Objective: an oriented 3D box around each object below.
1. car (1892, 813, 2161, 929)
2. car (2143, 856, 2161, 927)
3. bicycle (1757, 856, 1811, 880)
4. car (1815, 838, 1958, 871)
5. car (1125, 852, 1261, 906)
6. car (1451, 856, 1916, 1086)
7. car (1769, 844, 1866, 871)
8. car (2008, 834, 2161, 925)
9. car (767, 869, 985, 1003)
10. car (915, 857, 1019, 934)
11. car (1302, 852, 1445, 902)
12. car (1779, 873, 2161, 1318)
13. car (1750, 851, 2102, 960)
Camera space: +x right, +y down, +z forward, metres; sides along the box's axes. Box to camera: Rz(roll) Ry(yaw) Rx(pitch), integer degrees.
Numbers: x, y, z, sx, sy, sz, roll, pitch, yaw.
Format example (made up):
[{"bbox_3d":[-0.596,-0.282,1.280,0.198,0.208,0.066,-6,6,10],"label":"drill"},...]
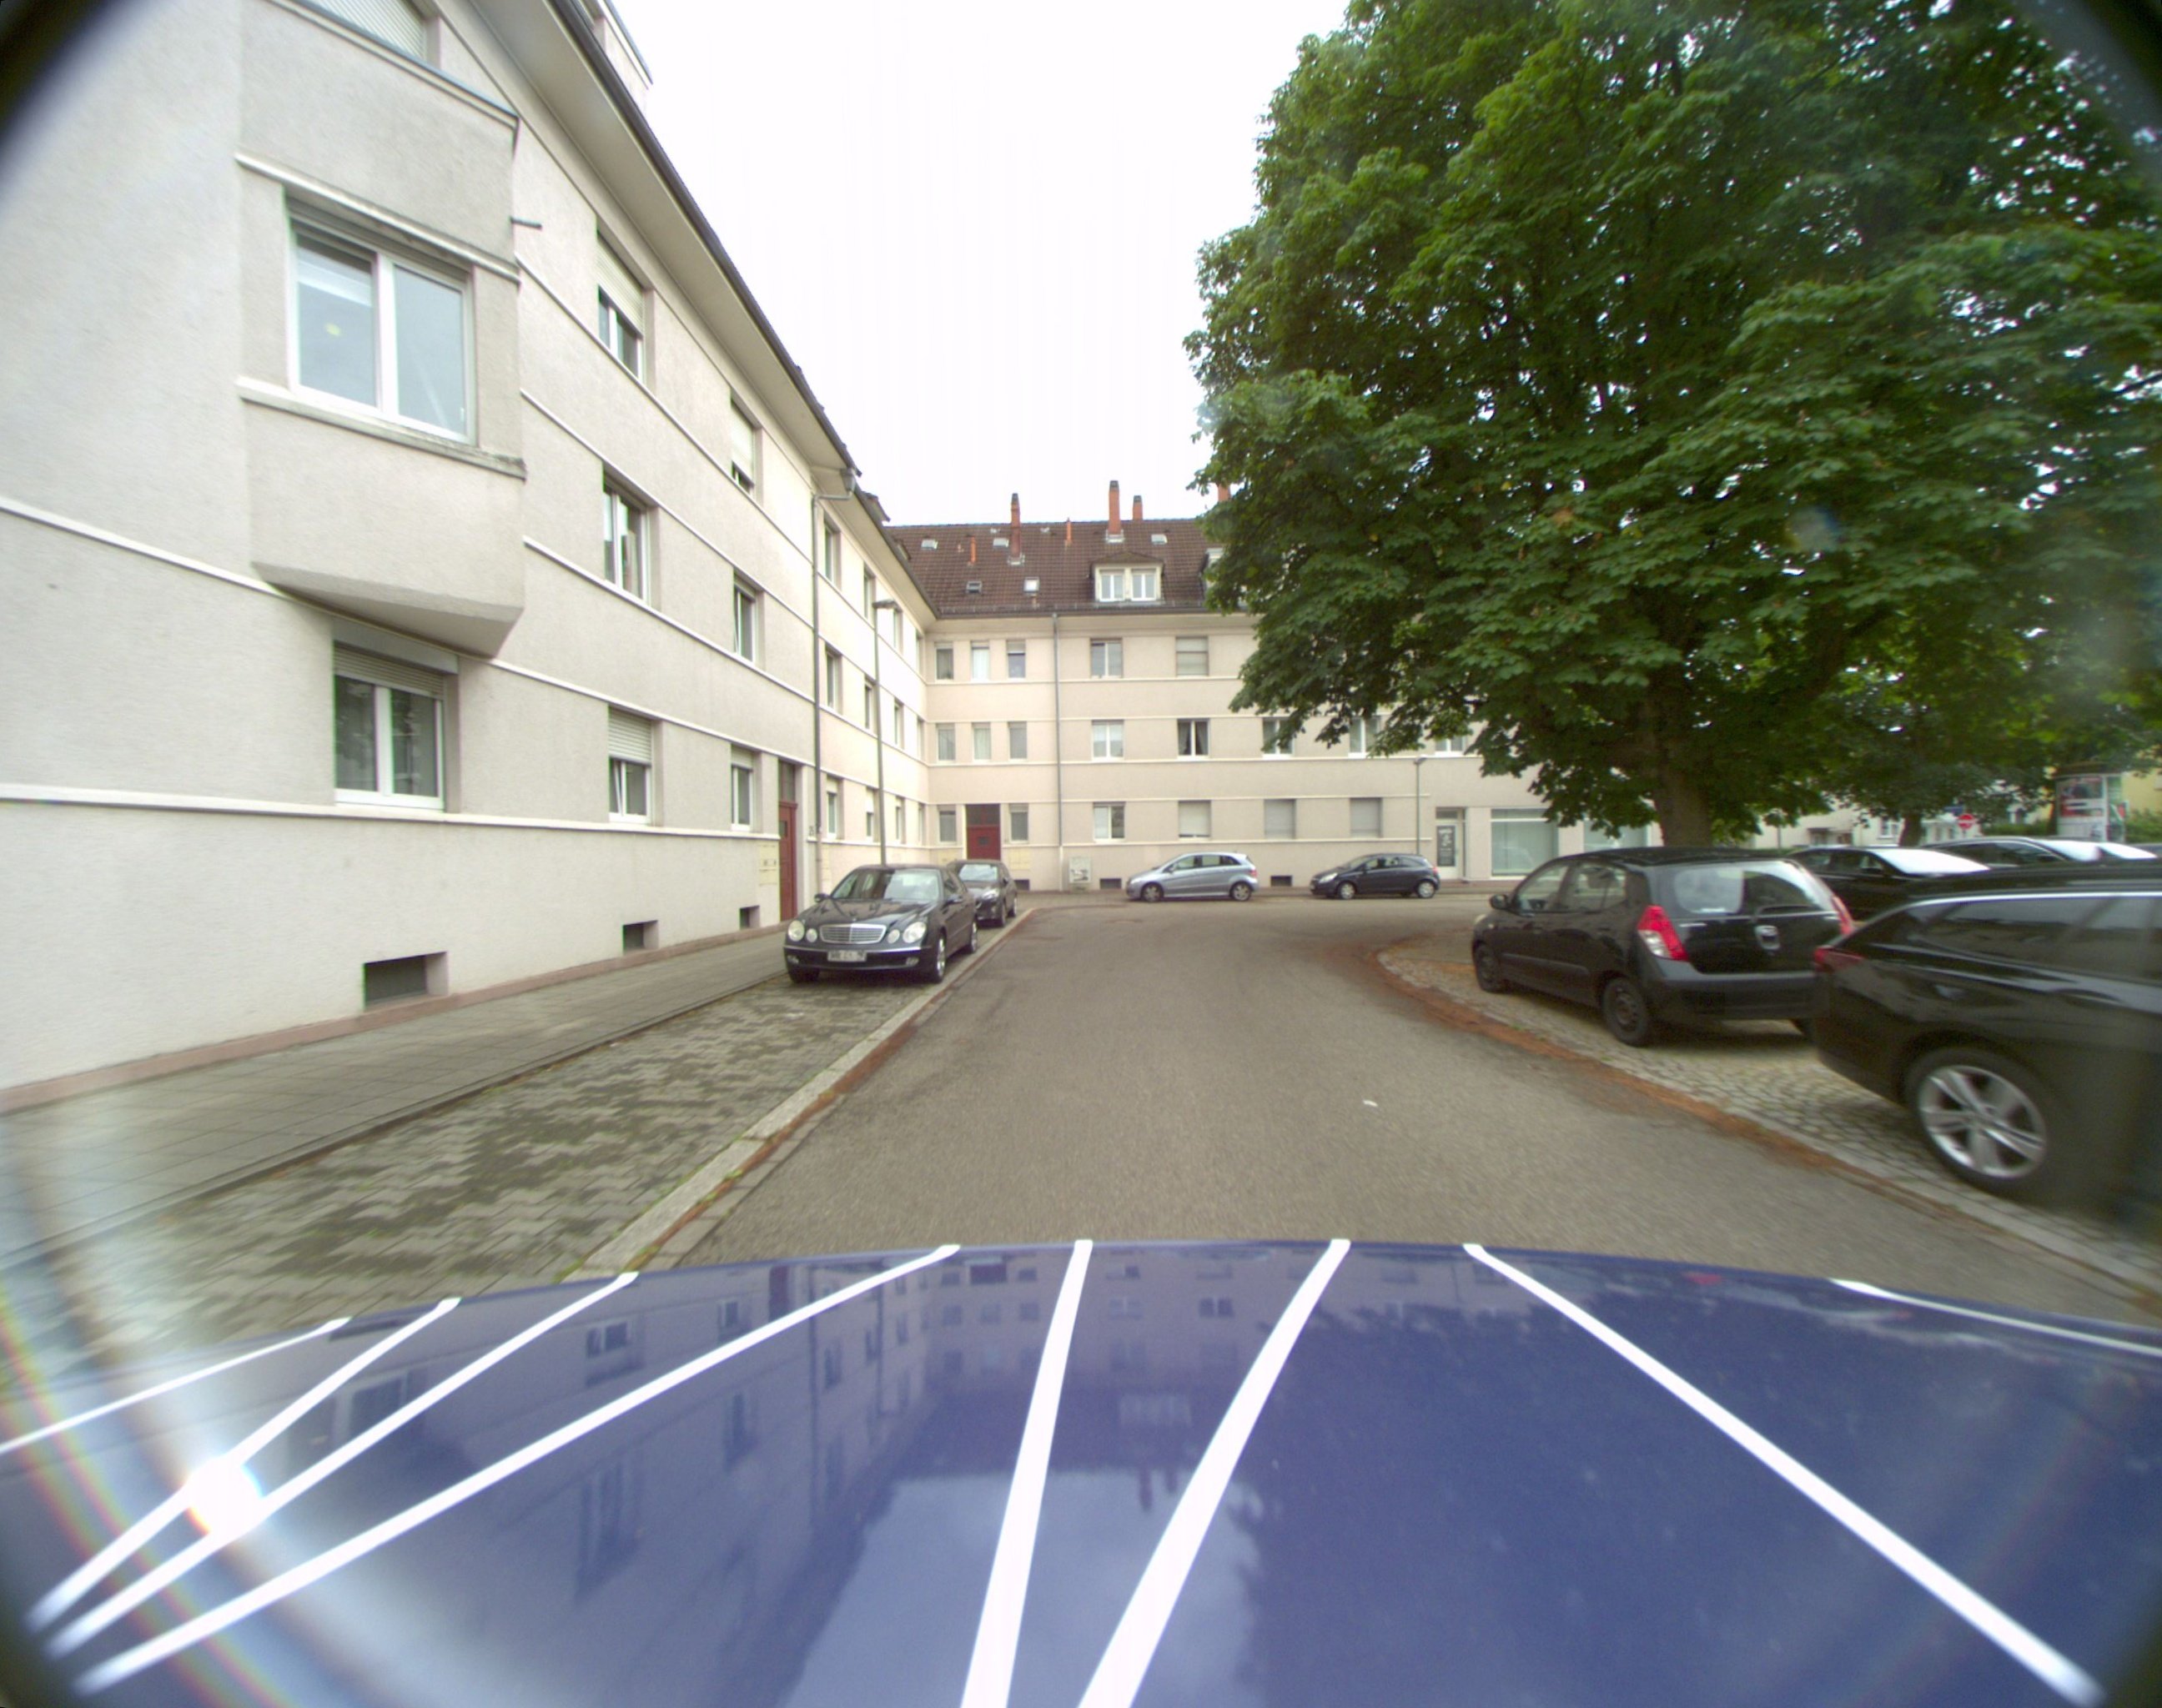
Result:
[{"bbox_3d":[16.815,0.262,12.909,1.914,1.687,4.071,-1,-1,5],"label":"car"},{"bbox_3d":[22.809,0.721,13.443,1.839,1.455,4.562,-1,-1,5],"label":"car"},{"bbox_3d":[32.184,0.611,34.830,0.667,1.060,1.885,-1,0,-2],"label":"bicycle"},{"bbox_3d":[40.477,0.029,38.394,1.902,1.557,4.882,-1,0,-4],"label":"car"},{"bbox_3d":[3.547,0.781,24.669,4.195,1.618,1.763,-1,0,4],"label":"car"},{"bbox_3d":[4.962,0.812,6.965,1.528,1.485,3.592,-3,0,4],"label":"car"},{"bbox_3d":[45.342,0.197,46.897,1.704,1.557,4.208,-2,0,-5],"label":"car"},{"bbox_3d":[19.371,0.422,13.021,1.839,1.556,4.359,-1,-1,5],"label":"car"},{"bbox_3d":[-2.560,0.948,10.799,1.749,1.412,4.950,0,0,0],"label":"car"},{"bbox_3d":[-2.493,0.858,17.537,1.761,1.516,4.078,0,1,0],"label":"car"},{"bbox_3d":[9.380,0.719,24.580,3.933,1.481,1.763,-1,0,2],"label":"car"},{"bbox_3d":[4.722,0.880,1.740,1.872,1.456,4.835,-3,0,2],"label":"car"},{"bbox_3d":[13.853,0.740,12.870,1.829,1.568,3.843,0,0,4],"label":"car"}]
